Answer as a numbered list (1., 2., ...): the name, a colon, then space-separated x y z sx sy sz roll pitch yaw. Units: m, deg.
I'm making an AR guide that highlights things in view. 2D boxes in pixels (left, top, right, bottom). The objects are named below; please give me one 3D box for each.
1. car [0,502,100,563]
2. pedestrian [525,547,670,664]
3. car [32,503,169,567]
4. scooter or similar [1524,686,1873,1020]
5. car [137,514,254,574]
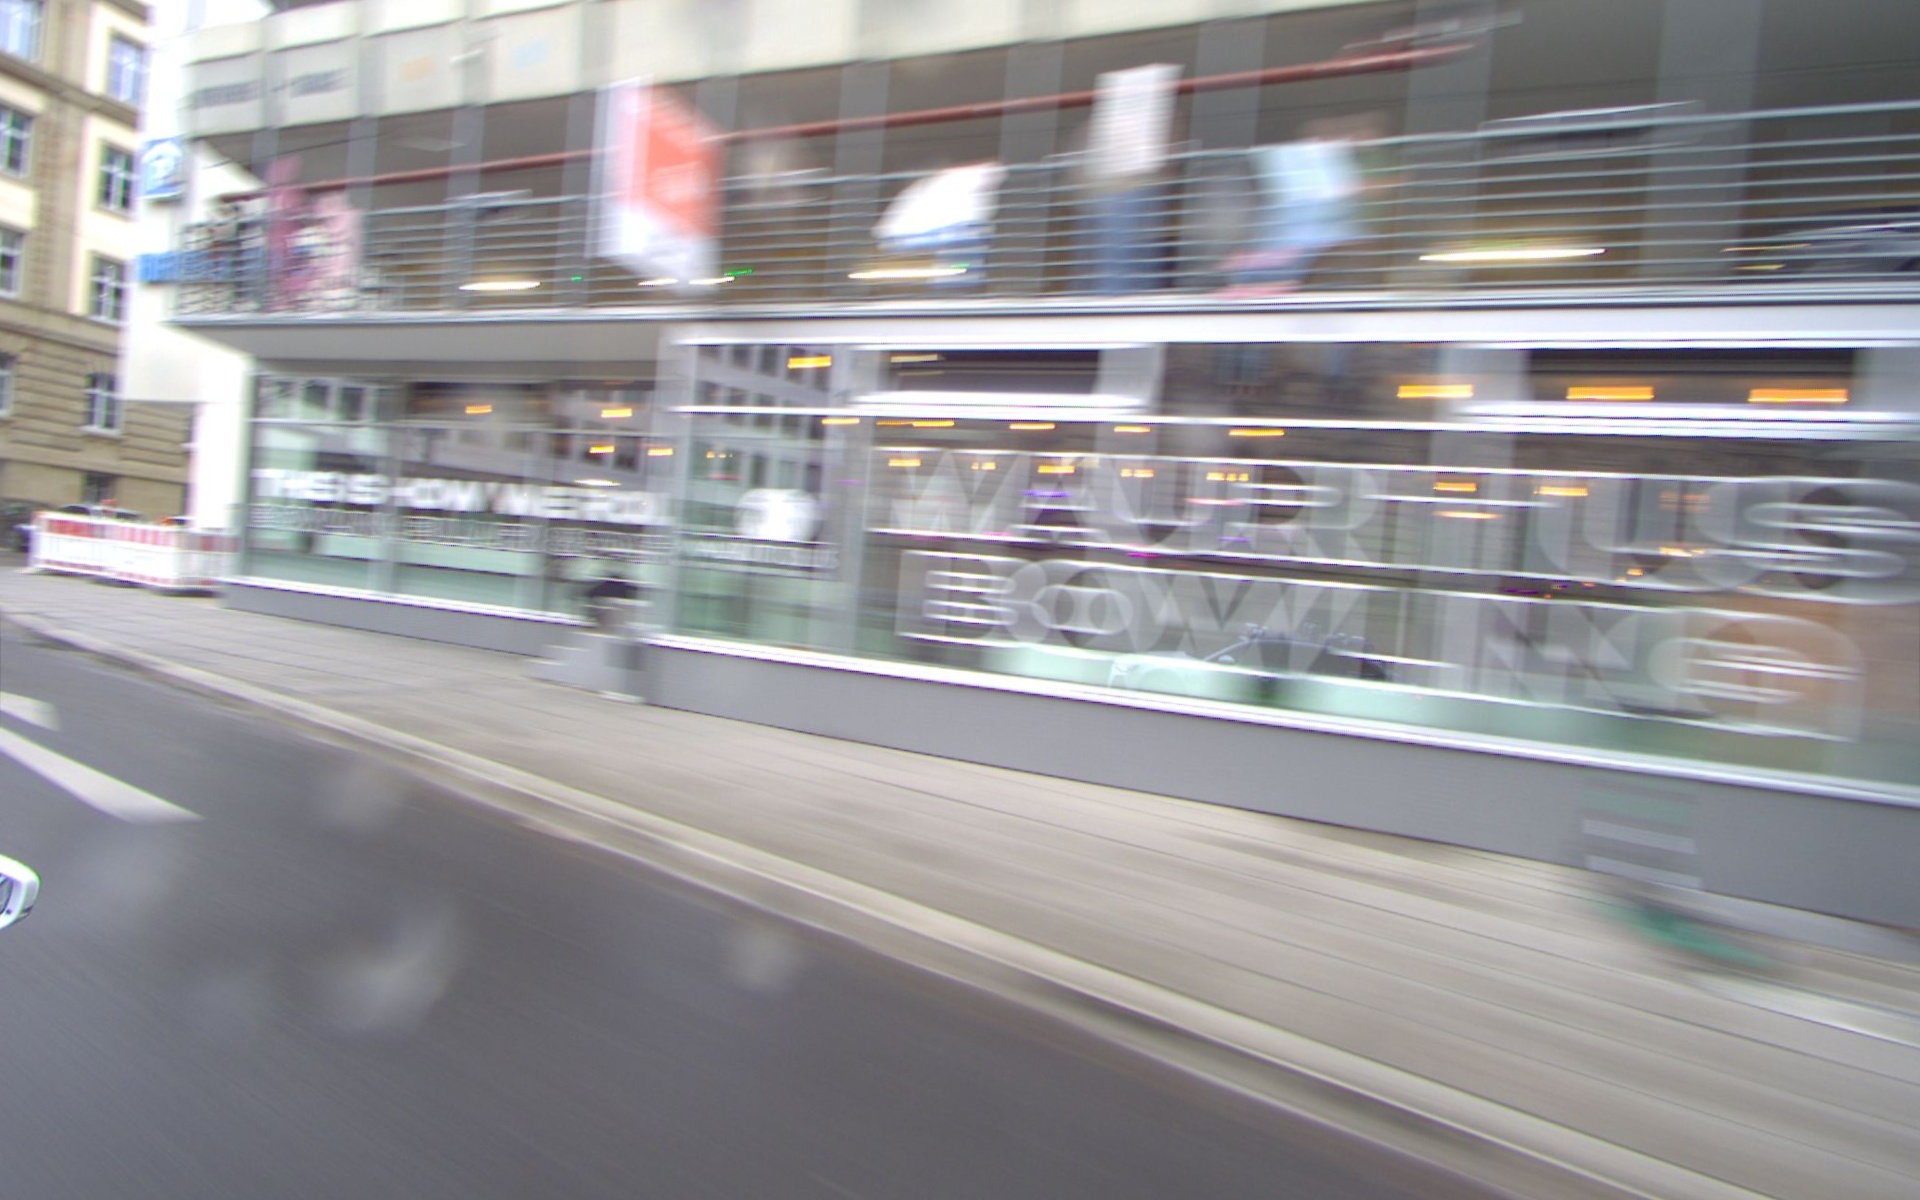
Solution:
1. car: -26.975 -2.053 28.555 4.910 1.384 1.740 7 -1 22
2. pedestrian: -4.036 0.071 11.226 1.224 1.137 0.755 7 0 21
3. car: -27.006 -2.040 31.588 4.255 1.473 1.738 7 -1 28
4. scooter or similar: 3.784 1.208 5.367 0.729 1.284 1.640 7 2 11
5. car: -25.546 -1.860 33.614 3.514 1.535 1.685 7 0 28
